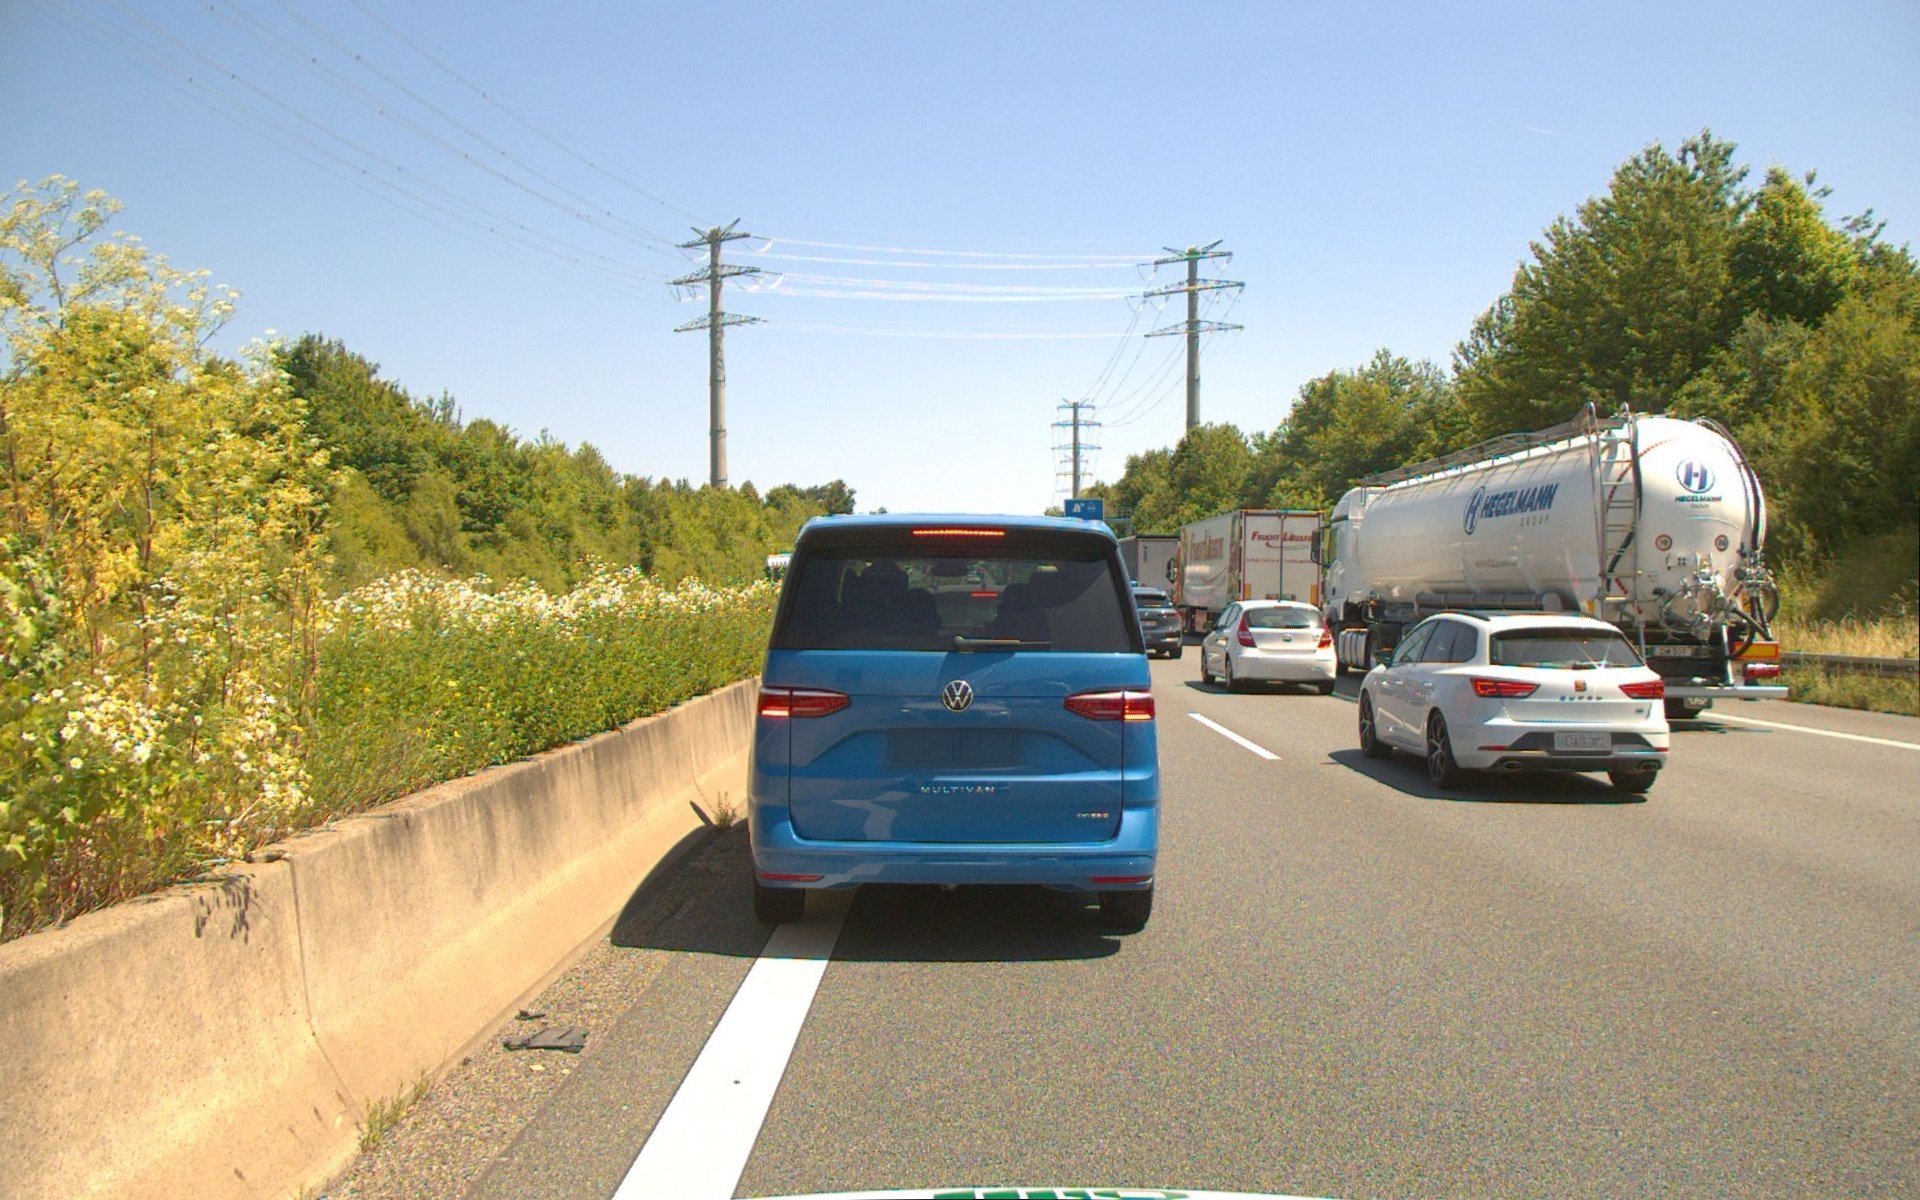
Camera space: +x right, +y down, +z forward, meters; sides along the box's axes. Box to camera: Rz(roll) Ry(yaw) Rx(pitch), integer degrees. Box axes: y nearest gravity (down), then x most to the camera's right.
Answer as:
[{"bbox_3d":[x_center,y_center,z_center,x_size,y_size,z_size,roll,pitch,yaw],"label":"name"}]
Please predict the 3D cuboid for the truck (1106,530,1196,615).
[{"bbox_3d":[9.380,-1.187,83.091,2.944,3.832,15.714,0,0,1],"label":"truck"}]

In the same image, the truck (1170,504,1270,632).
[{"bbox_3d":[9.623,-1.144,61.672,2.853,4.547,5.142,-1,0,0],"label":"truck"}]

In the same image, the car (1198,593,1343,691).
[{"bbox_3d":[5.175,0.680,28.010,1.779,1.511,4.000,-1,-1,1],"label":"car"}]

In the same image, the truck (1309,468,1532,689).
[{"bbox_3d":[8.840,-0.387,32.416,2.736,3.903,5.571,-1,0,0],"label":"truck"}]

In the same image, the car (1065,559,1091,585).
[{"bbox_3d":[9.945,-2.359,139.944,1.952,2.049,4.000,0,0,0],"label":"car"}]

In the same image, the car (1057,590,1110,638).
[{"bbox_3d":[5.222,0.603,70.664,1.884,1.959,4.235,-2,-1,0],"label":"car"}]

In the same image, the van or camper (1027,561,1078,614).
[{"bbox_3d":[5.623,-0.721,101.154,2.895,3.075,7.104,0,0,2],"label":"van or camper"}]

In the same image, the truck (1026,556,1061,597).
[{"bbox_3d":[9.851,-2.753,196.378,3.493,4.596,10.292,0,0,0],"label":"truck"}]

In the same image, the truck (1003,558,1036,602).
[{"bbox_3d":[5.327,-1.746,149.827,2.835,3.832,10.141,0,0,1],"label":"truck"}]

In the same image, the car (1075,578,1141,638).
[{"bbox_3d":[5.158,0.304,58.042,1.884,1.959,4.235,-2,-1,0],"label":"car"}]

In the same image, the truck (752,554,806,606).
[{"bbox_3d":[-14.331,-1.557,131.557,2.852,3.886,11.944,1,0,0],"label":"truck"}]

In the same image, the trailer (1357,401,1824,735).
[{"bbox_3d":[8.862,-0.376,25.381,2.704,3.912,11.485,-1,0,0],"label":"trailer"}]

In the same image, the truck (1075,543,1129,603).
[{"bbox_3d":[9.695,-1.716,114.414,2.835,3.832,13.346,0,0,1],"label":"truck"}]

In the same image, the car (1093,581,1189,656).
[{"bbox_3d":[4.483,0.476,41.592,1.958,1.745,4.625,-1,-1,1],"label":"car"}]

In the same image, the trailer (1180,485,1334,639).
[{"bbox_3d":[9.647,-1.130,55.325,2.852,4.547,12.153,-1,0,0],"label":"trailer"}]

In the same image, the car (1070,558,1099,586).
[{"bbox_3d":[9.793,-2.183,130.155,1.952,2.049,4.000,0,0,0],"label":"car"}]

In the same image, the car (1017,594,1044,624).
[{"bbox_3d":[4.940,0.629,116.432,1.798,2.033,4.001,-2,-1,2],"label":"car"}]

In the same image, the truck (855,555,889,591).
[{"bbox_3d":[-9.926,-3.021,187.523,3.107,3.886,11.944,1,0,0],"label":"truck"}]

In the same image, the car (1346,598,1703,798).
[{"bbox_3d":[4.746,0.765,14.583,1.711,1.468,4.313,-1,-1,1],"label":"car"}]

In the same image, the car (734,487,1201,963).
[{"bbox_3d":[0.045,0.500,8.739,1.880,1.919,4.000,1,0,0],"label":"car"}]

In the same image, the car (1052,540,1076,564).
[{"bbox_3d":[9.461,-4.393,150.943,1.952,2.049,4.000,0,0,0],"label":"car"}]
